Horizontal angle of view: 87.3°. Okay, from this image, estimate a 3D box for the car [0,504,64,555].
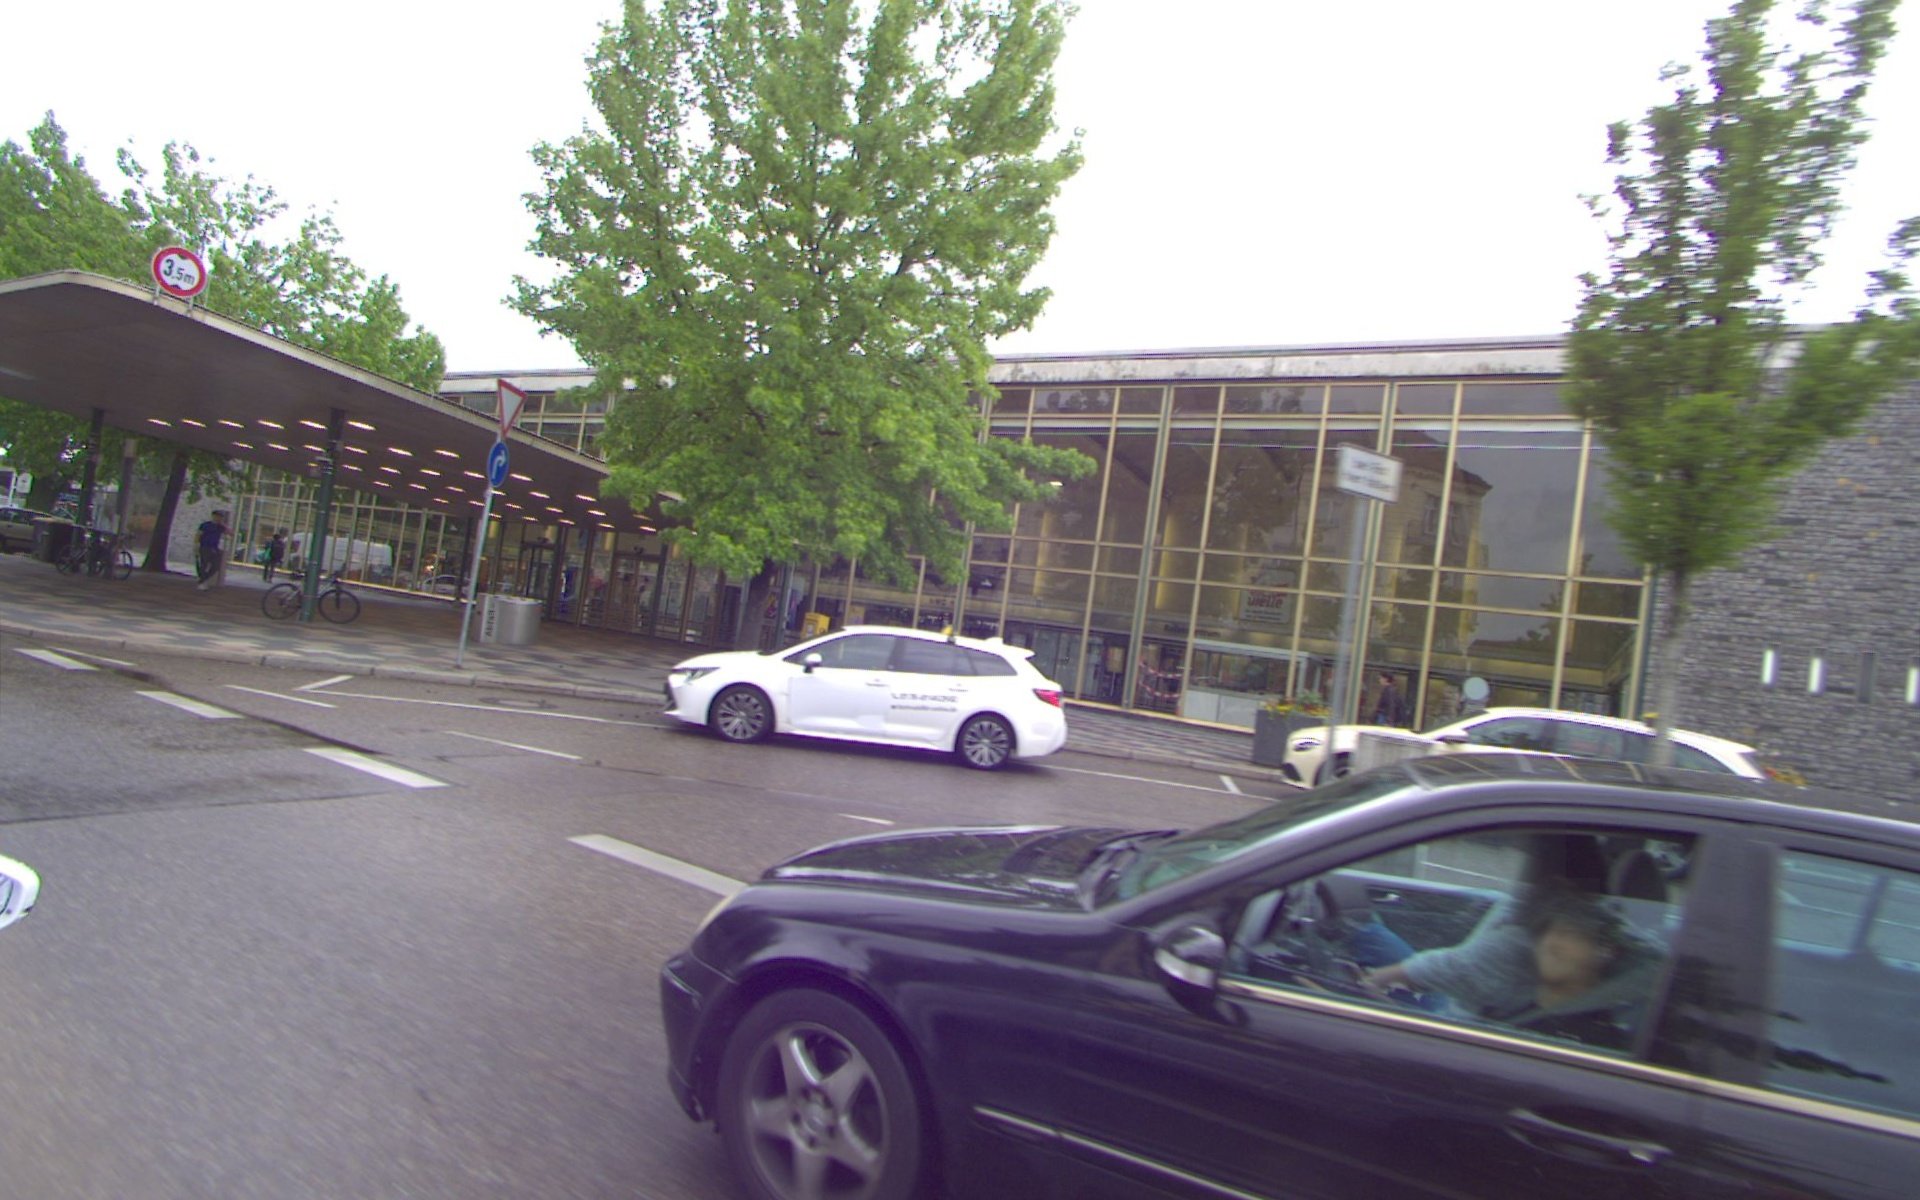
[{"bbox_3d":[-31.415,-2.423,32.062,1.829,1.460,4.004,7,-2,6],"label":"car"}]

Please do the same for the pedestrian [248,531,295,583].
[{"bbox_3d":[-22.530,-1.396,32.938,0.799,1.578,0.867,7,1,25],"label":"pedestrian"}]

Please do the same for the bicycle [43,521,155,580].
[{"bbox_3d":[-18.276,-1.035,21.405,0.412,1.069,1.834,6,0,14],"label":"bicycle"}]

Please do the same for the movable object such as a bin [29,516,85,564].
[{"bbox_3d":[-22.716,-1.506,25.308,0.735,1.080,0.753,7,0,23],"label":"movable object such as a bin"}]

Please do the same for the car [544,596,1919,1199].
[{"bbox_3d":[1.285,0.997,2.428,4.374,1.484,1.698,6,0,27],"label":"car"}]

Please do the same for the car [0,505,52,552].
[{"bbox_3d":[-33.745,-2.642,34.163,1.829,1.460,4.004,7,-2,6],"label":"car"}]

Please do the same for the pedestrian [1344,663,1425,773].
[{"bbox_3d":[6.918,1.914,16.410,0.784,1.647,0.721,6,1,-12],"label":"pedestrian"}]

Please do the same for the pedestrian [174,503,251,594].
[{"bbox_3d":[-16.606,-1.136,22.350,1.170,1.857,0.857,6,0,32],"label":"pedestrian"}]

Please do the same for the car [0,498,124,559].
[{"bbox_3d":[-26.439,-2.110,28.269,1.805,1.340,4.204,7,-2,12],"label":"car"}]

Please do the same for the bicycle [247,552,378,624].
[{"bbox_3d":[-11.145,-0.181,17.374,0.413,1.069,1.829,7,0,31],"label":"bicycle"}]

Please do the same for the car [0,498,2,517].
[{"bbox_3d":[-36.330,-3.210,35.016,1.829,1.460,4.004,7,-2,6],"label":"car"}]

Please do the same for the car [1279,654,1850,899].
[{"bbox_3d":[6.260,1.731,11.153,4.869,1.619,1.999,7,0,24],"label":"car"}]

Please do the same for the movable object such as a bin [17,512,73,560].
[{"bbox_3d":[-23.588,-1.646,25.938,0.735,1.109,0.753,7,0,20],"label":"movable object such as a bin"}]

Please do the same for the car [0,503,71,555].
[{"bbox_3d":[-29.483,-2.289,30.200,1.830,1.375,4.003,7,-2,2],"label":"car"}]

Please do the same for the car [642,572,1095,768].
[{"bbox_3d":[-1.015,0.788,11.635,4.694,1.564,1.762,7,-1,-8],"label":"car"}]

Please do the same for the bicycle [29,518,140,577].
[{"bbox_3d":[-18.704,-1.097,21.543,0.412,1.069,1.834,6,0,14],"label":"bicycle"}]
